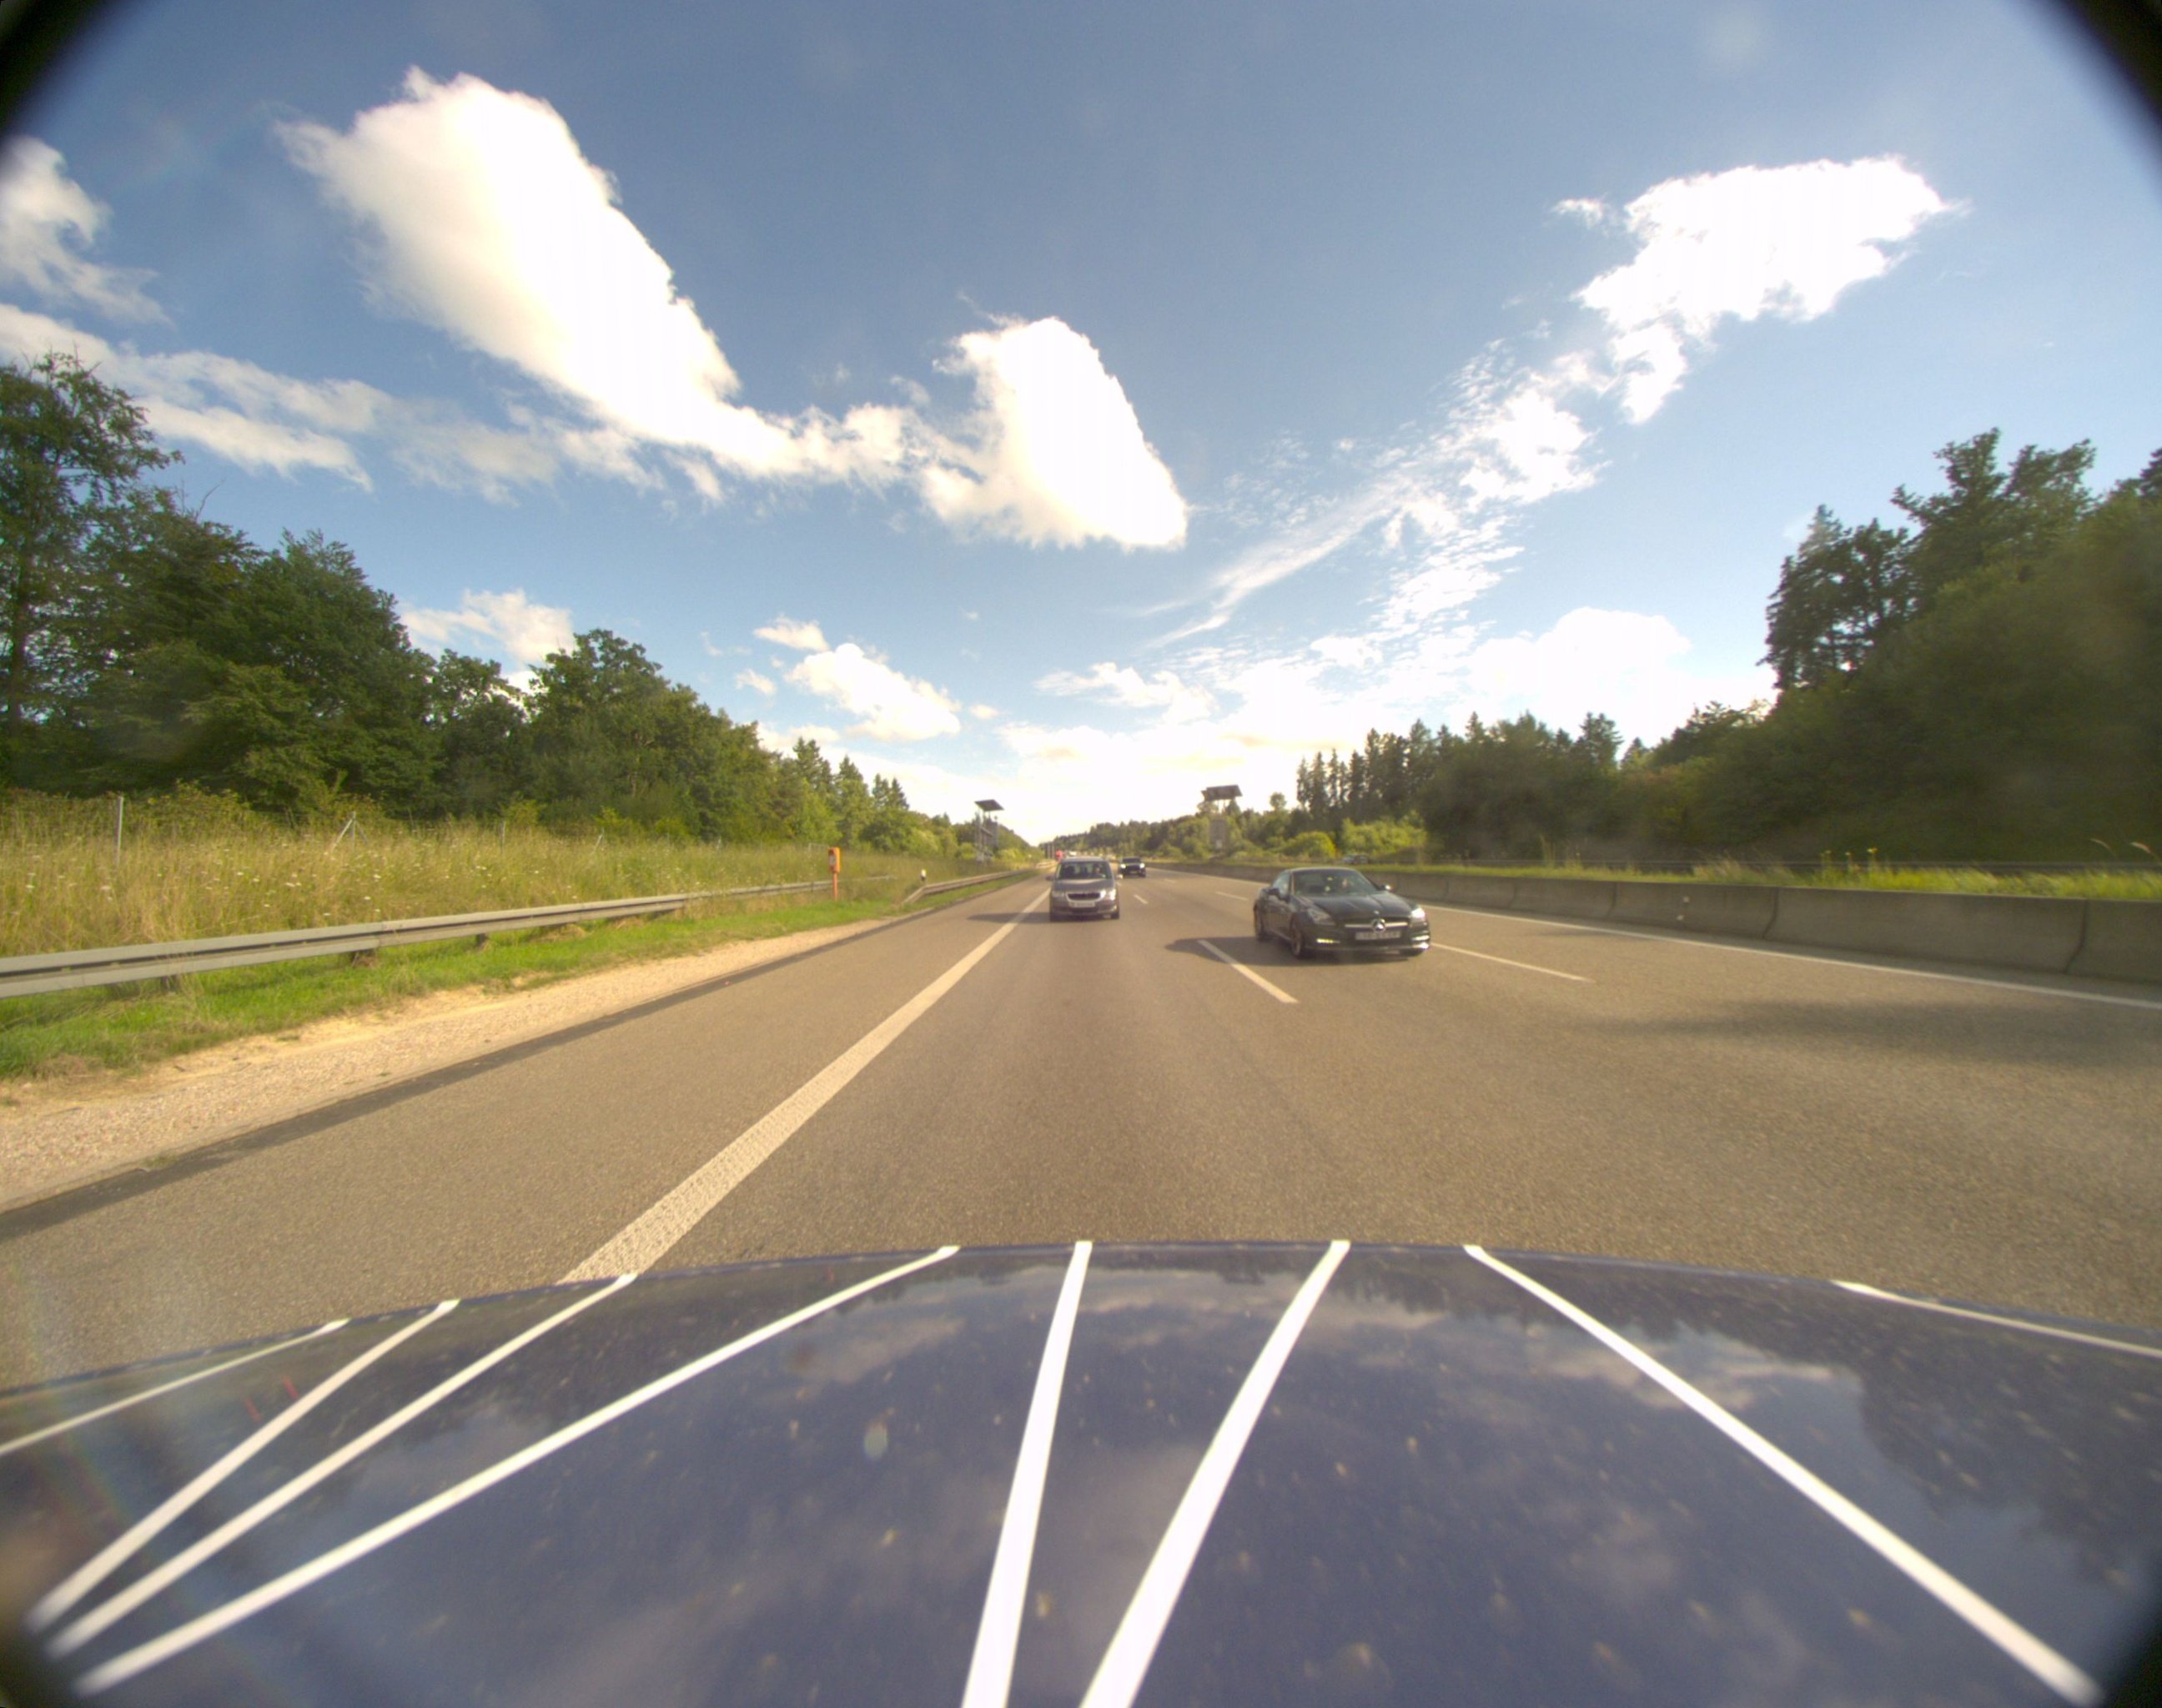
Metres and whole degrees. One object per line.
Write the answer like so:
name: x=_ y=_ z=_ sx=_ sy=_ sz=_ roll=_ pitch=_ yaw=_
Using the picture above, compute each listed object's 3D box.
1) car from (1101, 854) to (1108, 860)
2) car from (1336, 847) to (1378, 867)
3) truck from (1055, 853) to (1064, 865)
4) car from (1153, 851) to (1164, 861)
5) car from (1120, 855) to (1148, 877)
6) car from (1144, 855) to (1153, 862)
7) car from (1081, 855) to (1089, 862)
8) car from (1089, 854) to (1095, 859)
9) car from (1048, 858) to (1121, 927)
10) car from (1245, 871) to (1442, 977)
car: x=7.353 y=0.897 z=234.125 sx=1.998 sy=1.772 sz=4.000 roll=-2 pitch=0 yaw=1
car: x=23.384 y=0.255 z=64.543 sx=1.884 sy=1.618 sz=4.570 roll=-2 pitch=0 yaw=0
truck: x=-7.386 y=1.719 z=261.387 sx=2.880 sy=3.871 sz=8.958 roll=-2 pitch=0 yaw=0
car: x=16.907 y=0.439 z=166.052 sx=1.999 sy=2.002 sz=4.071 roll=-2 pitch=0 yaw=0
car: x=4.172 y=0.949 z=60.190 sx=1.961 sy=1.608 sz=4.387 roll=-2 pitch=0 yaw=1
car: x=19.519 y=1.215 z=220.174 sx=1.931 sy=1.894 sz=4.429 roll=-2 pitch=0 yaw=-1
car: x=0.959 y=1.187 z=191.017 sx=1.938 sy=1.772 sz=4.236 roll=-2 pitch=0 yaw=1
car: x=3.705 y=0.769 z=253.665 sx=1.943 sy=1.772 sz=4.158 roll=-2 pitch=0 yaw=1
car: x=0.118 y=0.956 z=20.539 sx=1.742 sy=1.608 sz=4.083 roll=-2 pitch=0 yaw=1
car: x=3.937 y=0.975 z=12.203 sx=1.749 sy=1.276 sz=4.199 roll=-2 pitch=0 yaw=1
